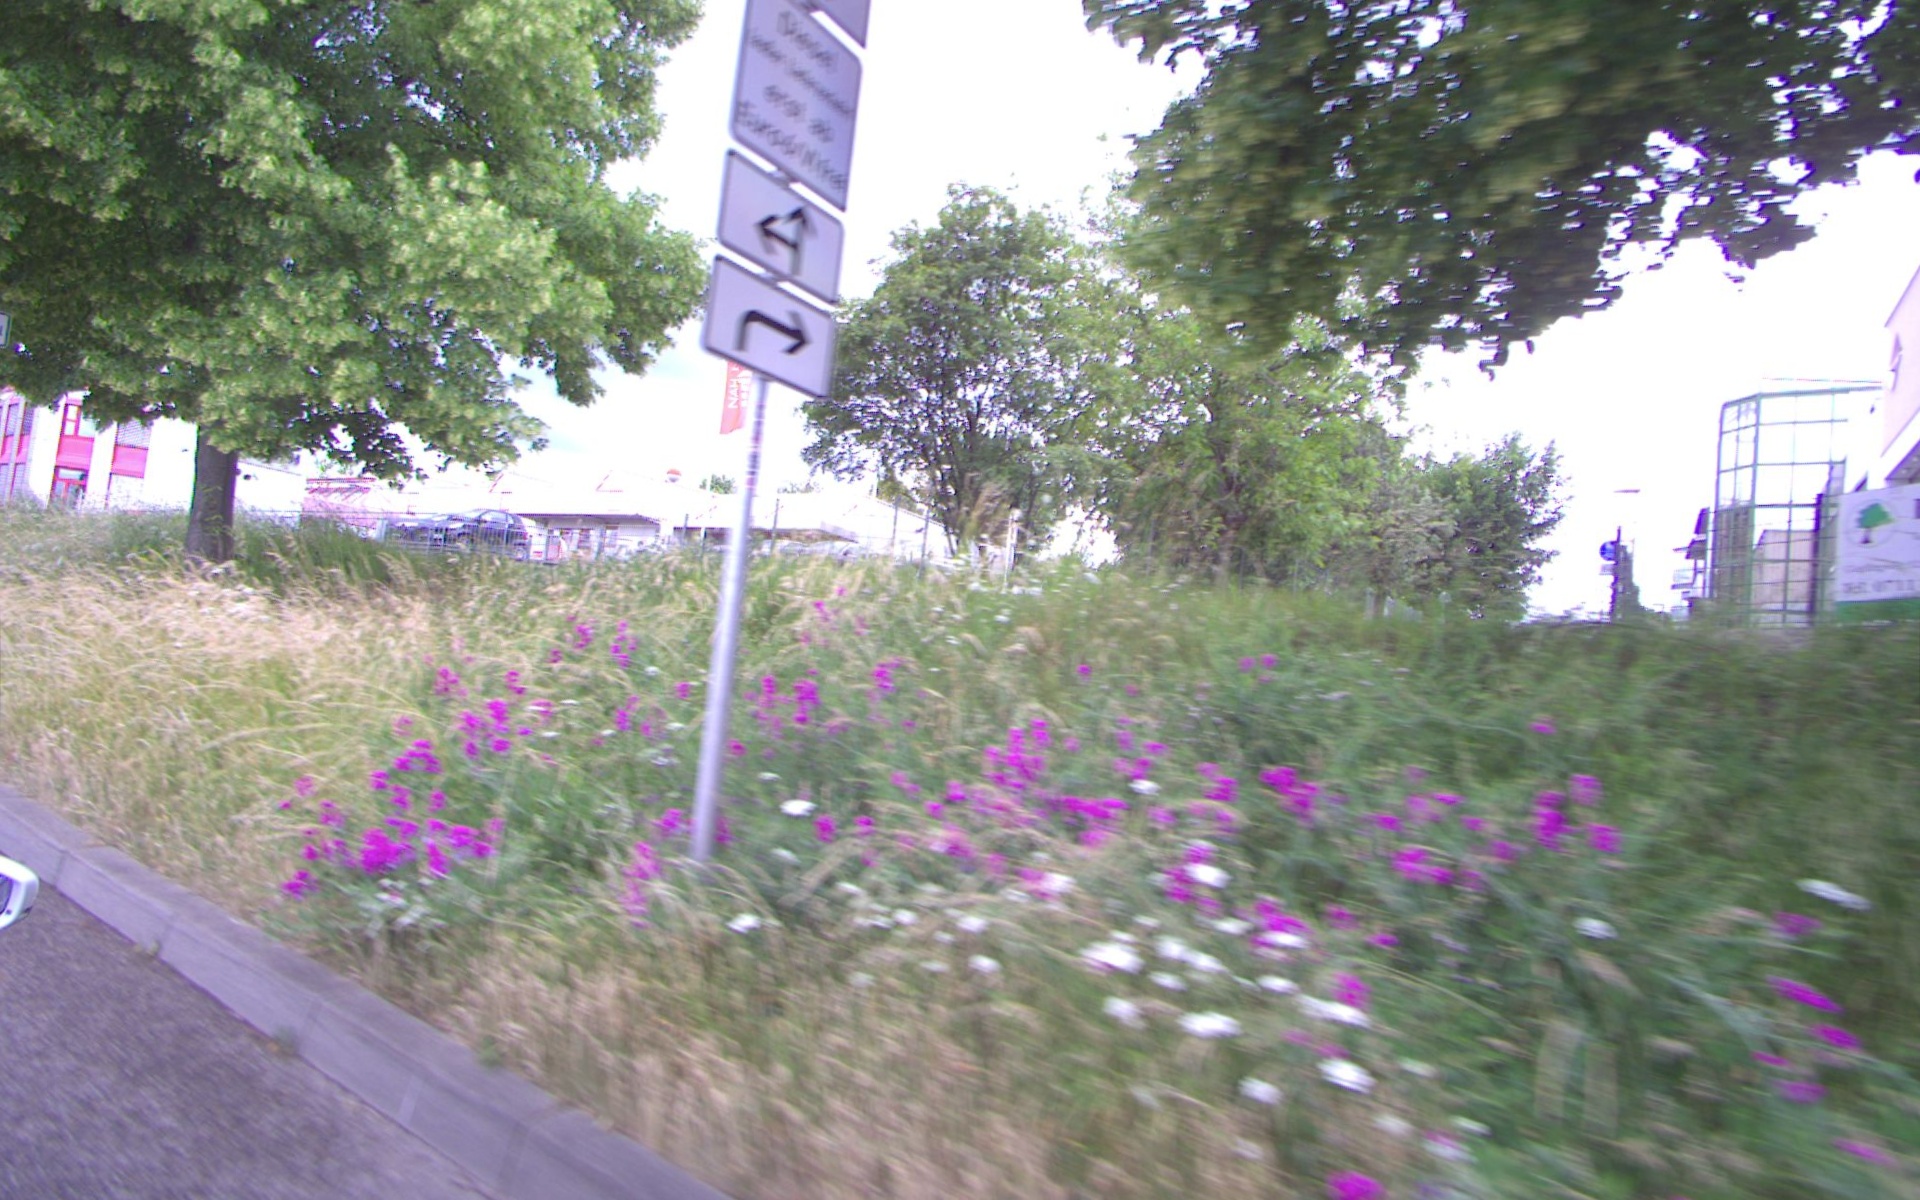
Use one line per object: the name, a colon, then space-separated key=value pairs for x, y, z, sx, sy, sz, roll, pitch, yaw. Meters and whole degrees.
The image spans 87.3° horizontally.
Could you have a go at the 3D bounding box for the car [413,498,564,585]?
car: x=-14.634 y=-1.773 z=31.378 sx=1.617 sy=1.980 sz=3.762 roll=6 pitch=-4 yaw=35

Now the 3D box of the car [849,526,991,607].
car: x=-1.013 y=-0.876 z=27.511 sx=1.728 sy=1.498 sz=3.934 roll=6 pitch=-4 yaw=35

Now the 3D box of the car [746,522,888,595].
car: x=-4.039 y=-1.150 z=28.911 sx=1.728 sy=1.383 sz=3.933 roll=6 pitch=-4 yaw=35

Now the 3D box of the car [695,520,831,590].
car: x=-5.840 y=-1.305 z=30.183 sx=1.728 sy=1.378 sz=3.762 roll=6 pitch=-4 yaw=35

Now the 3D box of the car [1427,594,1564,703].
car: x=9.733 y=0.922 z=18.177 sx=1.553 sy=1.526 sz=3.361 roll=6 pitch=-3 yaw=37
